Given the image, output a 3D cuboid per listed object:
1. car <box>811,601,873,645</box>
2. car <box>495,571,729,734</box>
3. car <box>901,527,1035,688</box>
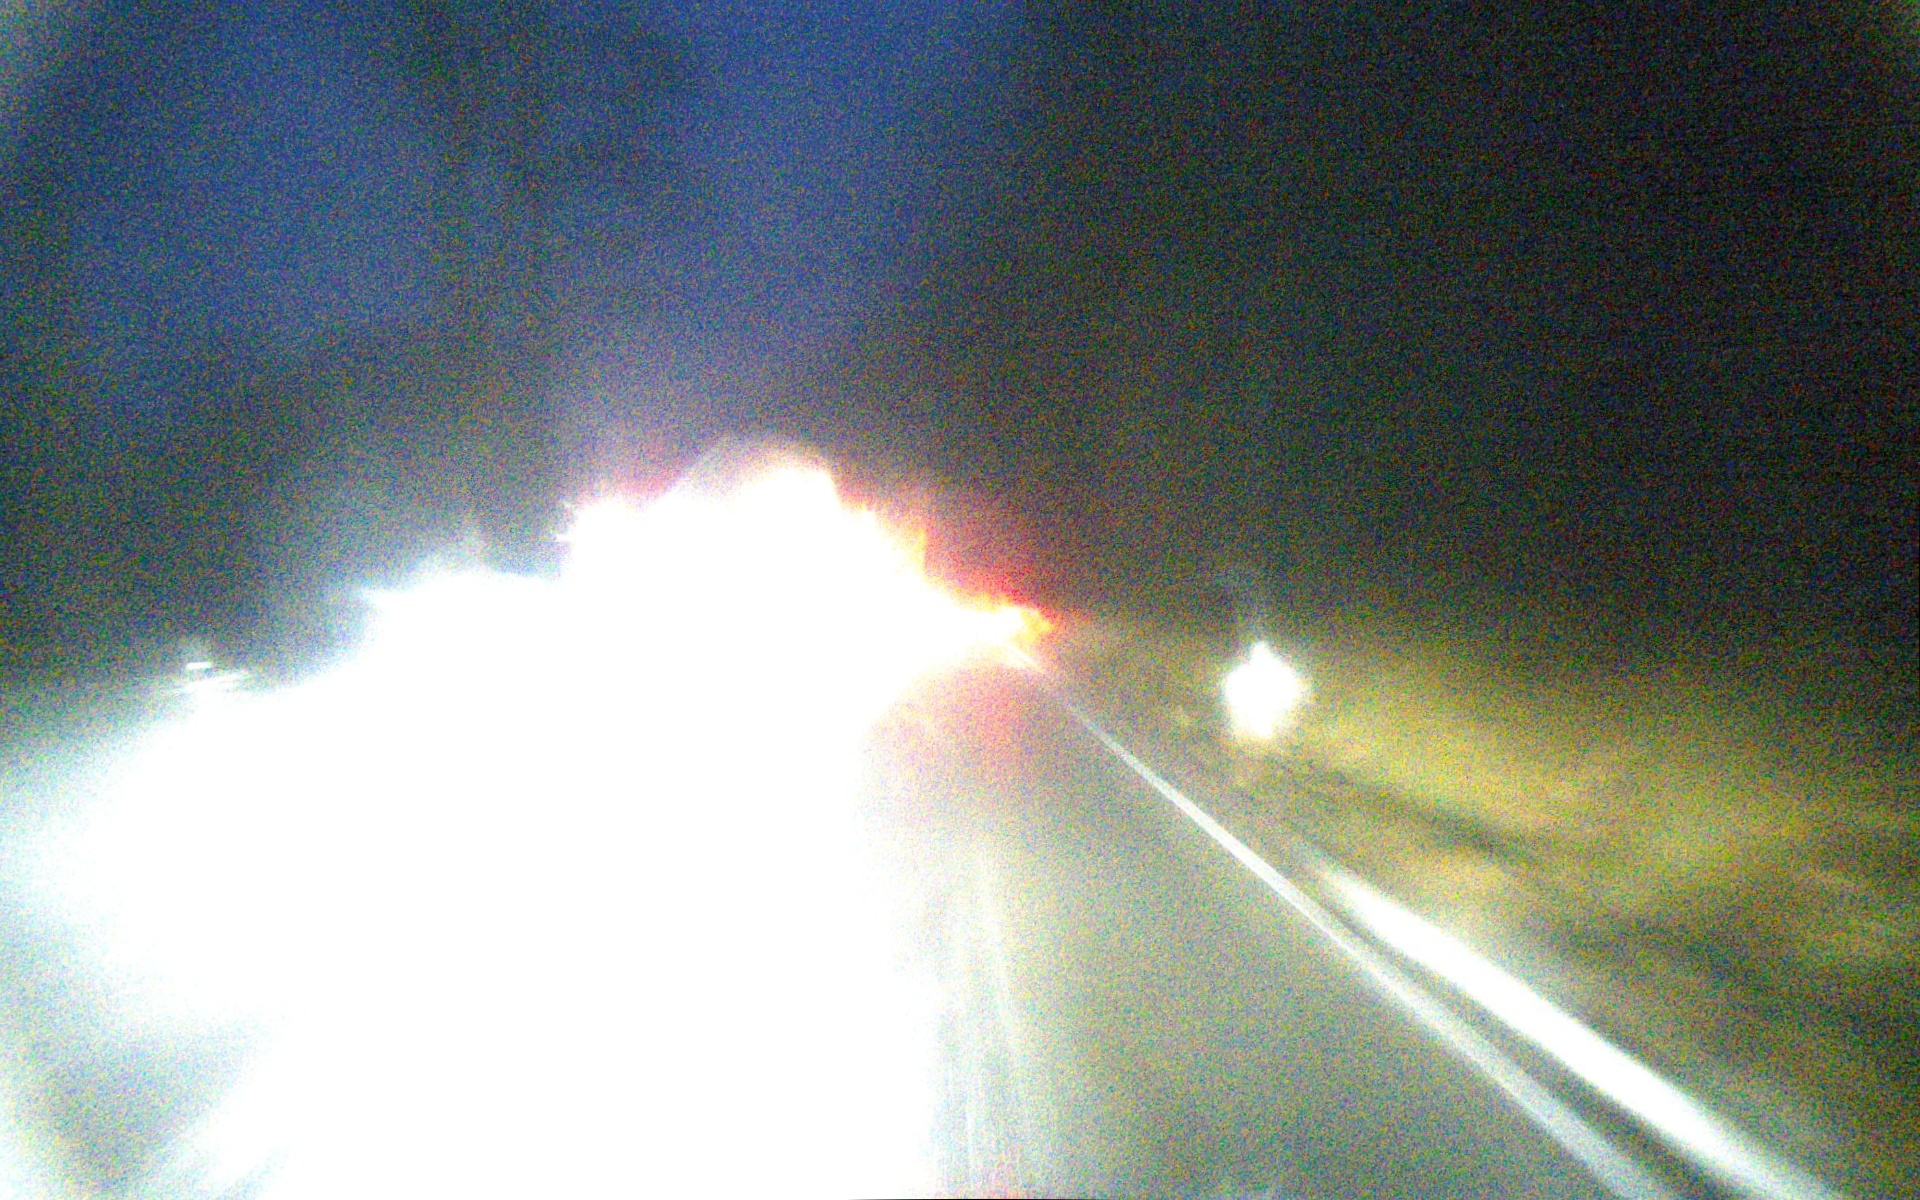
[{"bbox_3d":[-4.290,0.839,60.940,1.880,1.497,4.574,-1,-1,0],"label":"car"},{"bbox_3d":[-3.525,0.467,17.401,1.736,1.536,3.689,0,1,-1],"label":"car"},{"bbox_3d":[0.095,0.036,29.537,2.137,2.601,4.508,2,2,-1],"label":"car"}]
